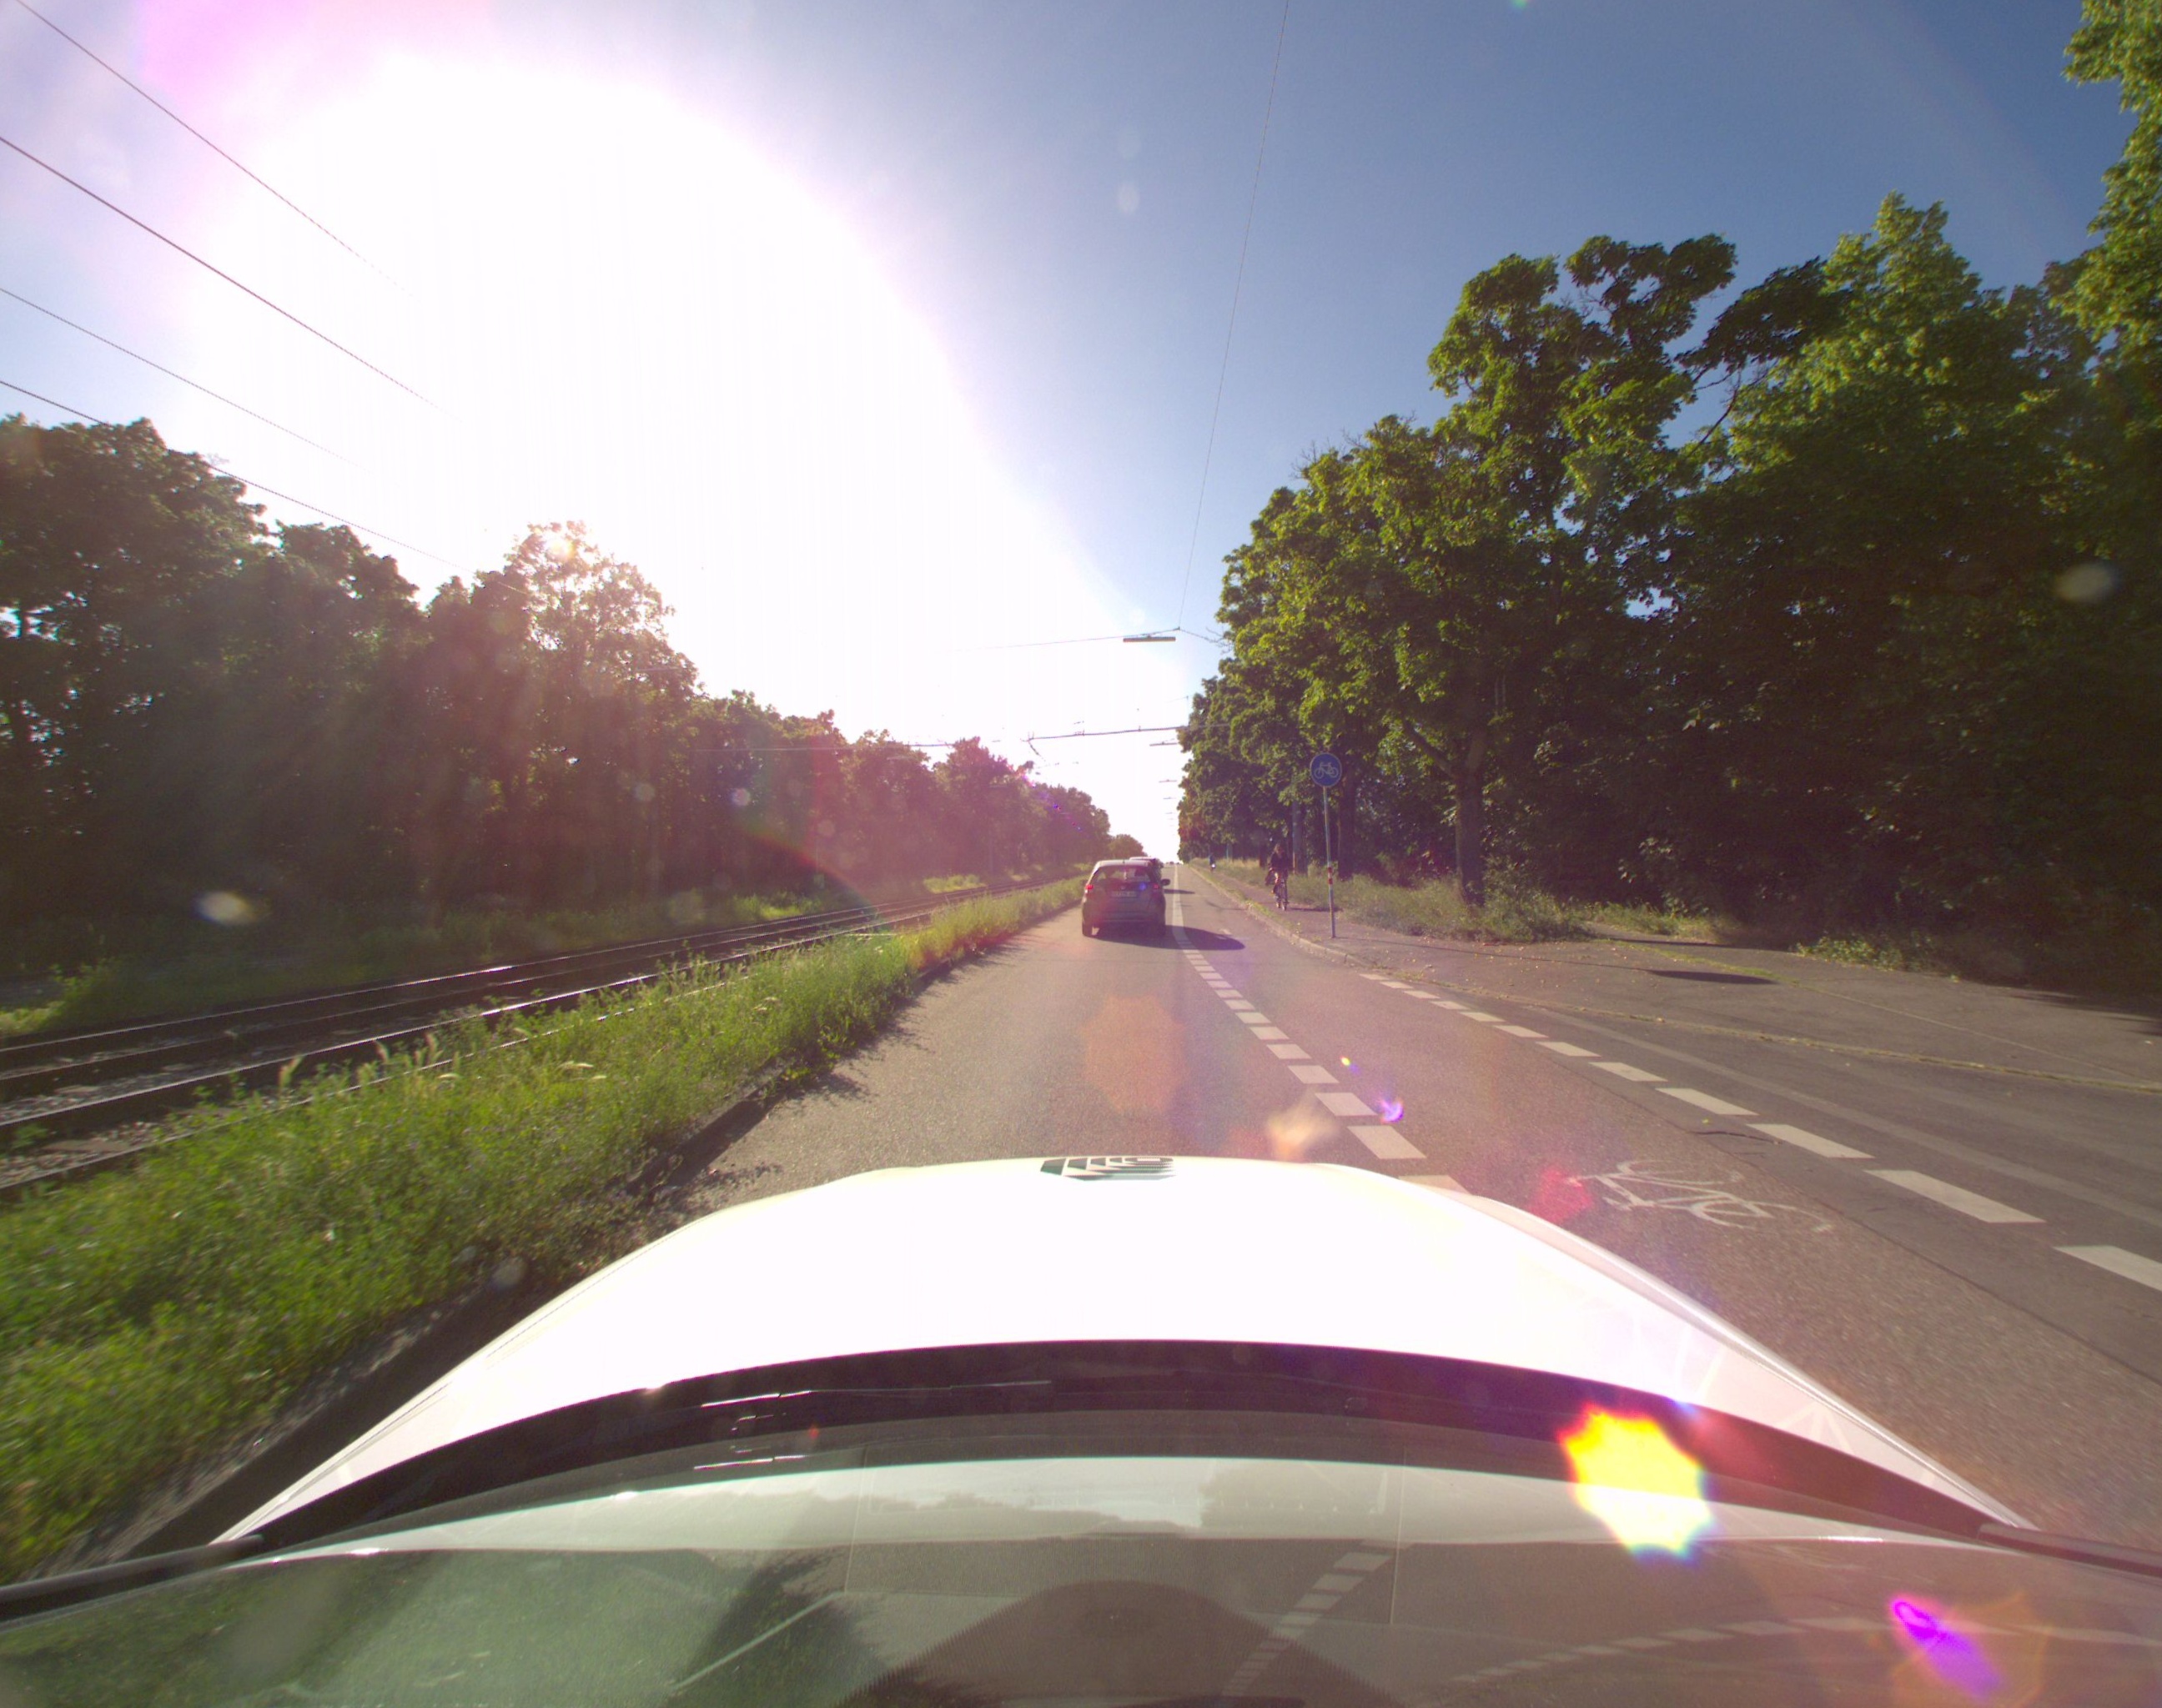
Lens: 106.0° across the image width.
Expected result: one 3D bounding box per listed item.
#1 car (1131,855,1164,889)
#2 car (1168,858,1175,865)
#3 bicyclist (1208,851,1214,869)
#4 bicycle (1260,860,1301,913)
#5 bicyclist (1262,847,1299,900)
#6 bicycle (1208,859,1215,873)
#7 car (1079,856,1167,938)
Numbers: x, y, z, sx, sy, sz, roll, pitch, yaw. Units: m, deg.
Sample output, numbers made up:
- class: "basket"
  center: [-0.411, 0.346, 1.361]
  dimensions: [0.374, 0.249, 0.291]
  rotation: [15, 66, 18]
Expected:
- class: "car"
  center: [3.159, 0.849, 38.463]
  dimensions: [1.344, 1.528, 3.129]
  rotation: [-2, -2, 8]
- class: "car"
  center: [28.969, 2.473, 259.780]
  dimensions: [1.983, 2.013, 4.008]
  rotation: [-7, -2, 7]
- class: "bicyclist"
  center: [11.148, 0.538, 69.834]
  dimensions: [0.403, 1.507, 0.575]
  rotation: [-2, -1, 6]
- class: "bicycle"
  center: [5.331, 0.839, 21.904]
  dimensions: [0.615, 1.190, 2.510]
  rotation: [-5, 1, 6]
- class: "bicyclist"
  center: [5.407, 0.522, 22.144]
  dimensions: [0.753, 1.368, 0.806]
  rotation: [-2, 0, 0]
- class: "bicycle"
  center: [11.145, 0.986, 69.546]
  dimensions: [0.416, 1.188, 1.724]
  rotation: [-1, 0, 6]
- class: "car"
  center: [0.979, 0.828, 17.410]
  dimensions: [1.662, 1.515, 3.679]
  rotation: [1, 0, 5]
